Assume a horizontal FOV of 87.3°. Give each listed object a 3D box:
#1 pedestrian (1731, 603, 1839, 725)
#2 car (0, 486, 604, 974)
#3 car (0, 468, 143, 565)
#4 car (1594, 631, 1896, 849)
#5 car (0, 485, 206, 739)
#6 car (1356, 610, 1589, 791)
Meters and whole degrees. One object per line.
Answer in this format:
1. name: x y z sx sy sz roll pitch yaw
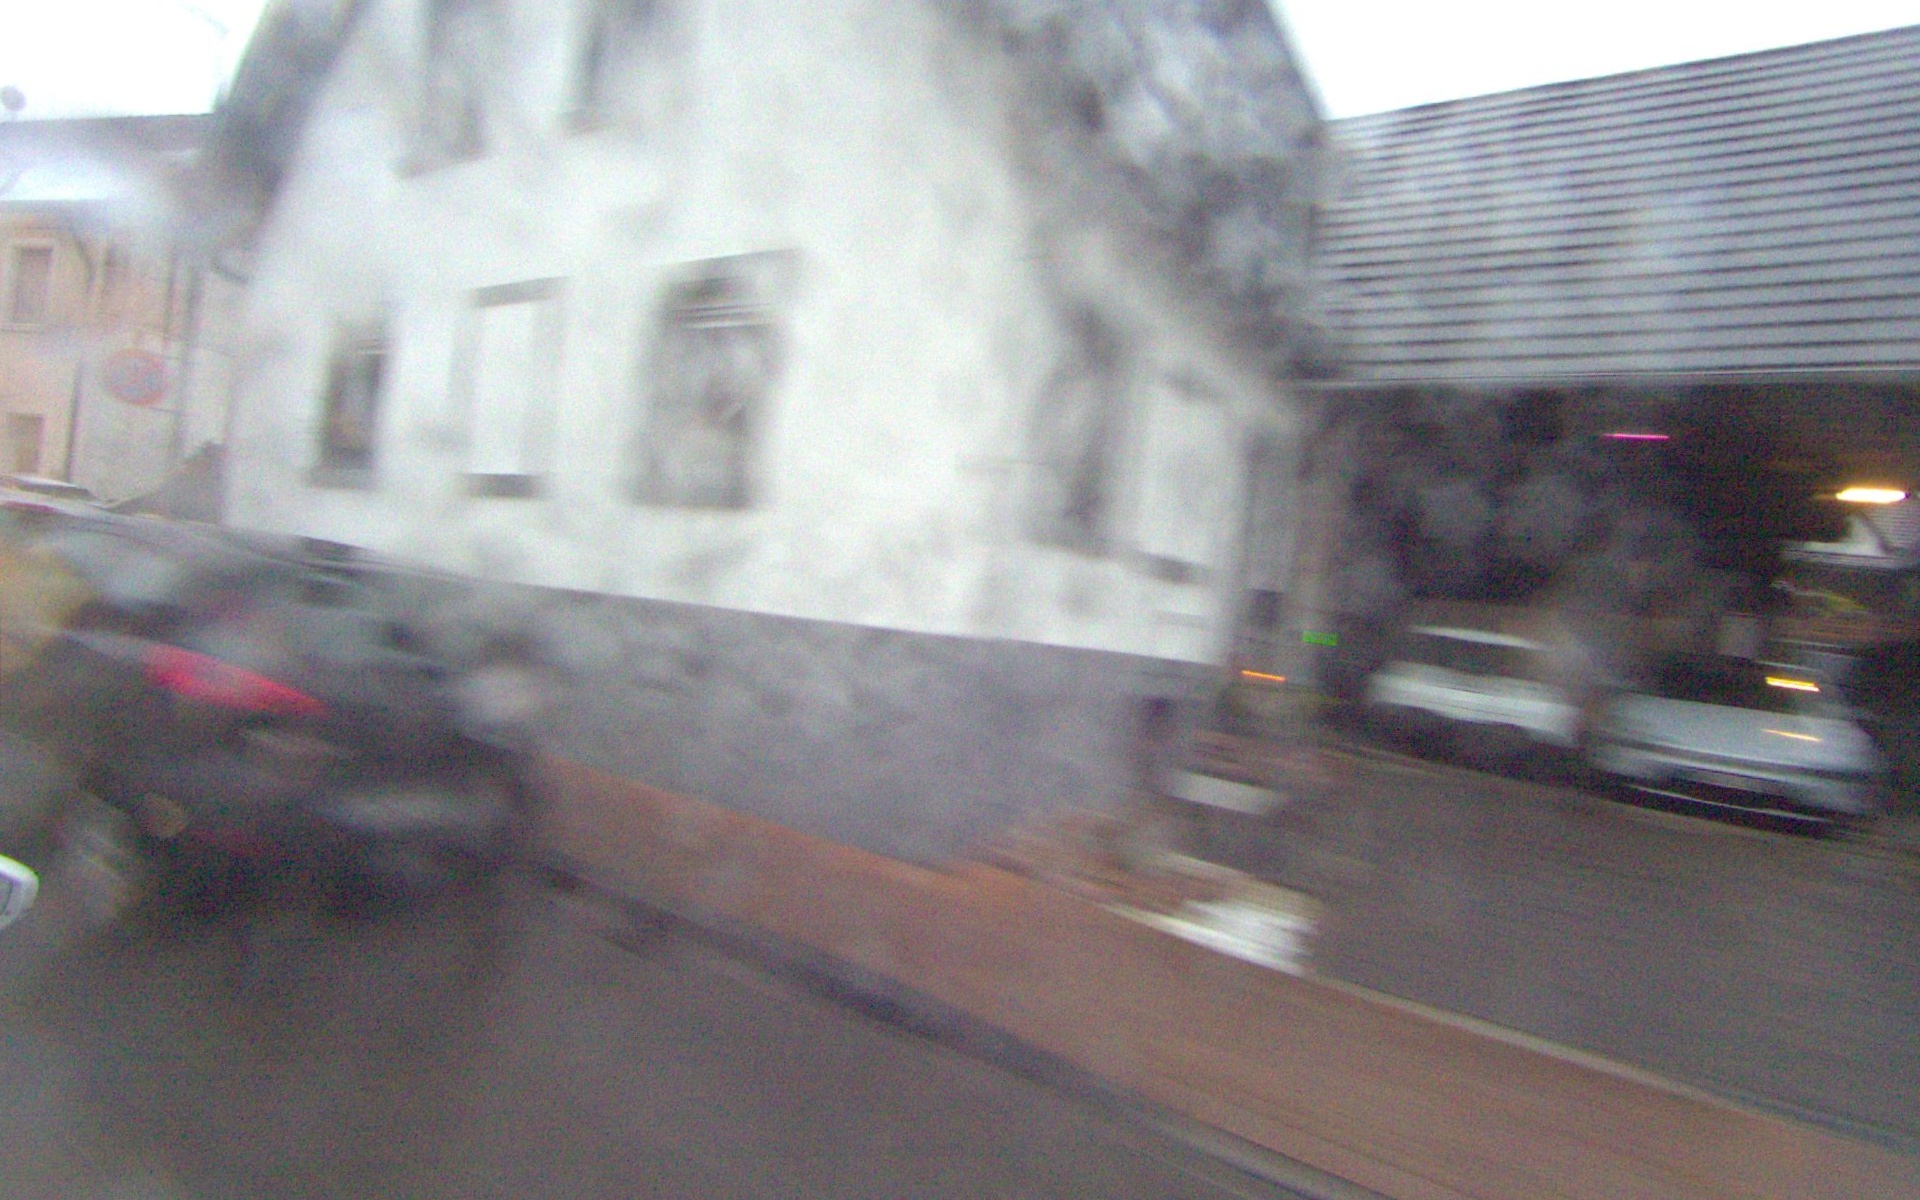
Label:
1. pedestrian: 17.004 1.284 20.782 1.214 2.326 0.997 7 3 20
2. car: -3.820 0.332 4.902 3.932 1.488 1.642 7 -2 30
3. car: -17.414 -1.615 18.356 4.197 1.507 1.811 6 2 17
4. car: 7.859 1.323 10.502 1.947 1.582 4.061 7 -1 33
5. car: -7.333 -0.103 7.135 3.932 1.511 1.642 7 -2 30
6. car: 6.216 1.134 11.939 1.947 1.561 4.061 7 -1 33
